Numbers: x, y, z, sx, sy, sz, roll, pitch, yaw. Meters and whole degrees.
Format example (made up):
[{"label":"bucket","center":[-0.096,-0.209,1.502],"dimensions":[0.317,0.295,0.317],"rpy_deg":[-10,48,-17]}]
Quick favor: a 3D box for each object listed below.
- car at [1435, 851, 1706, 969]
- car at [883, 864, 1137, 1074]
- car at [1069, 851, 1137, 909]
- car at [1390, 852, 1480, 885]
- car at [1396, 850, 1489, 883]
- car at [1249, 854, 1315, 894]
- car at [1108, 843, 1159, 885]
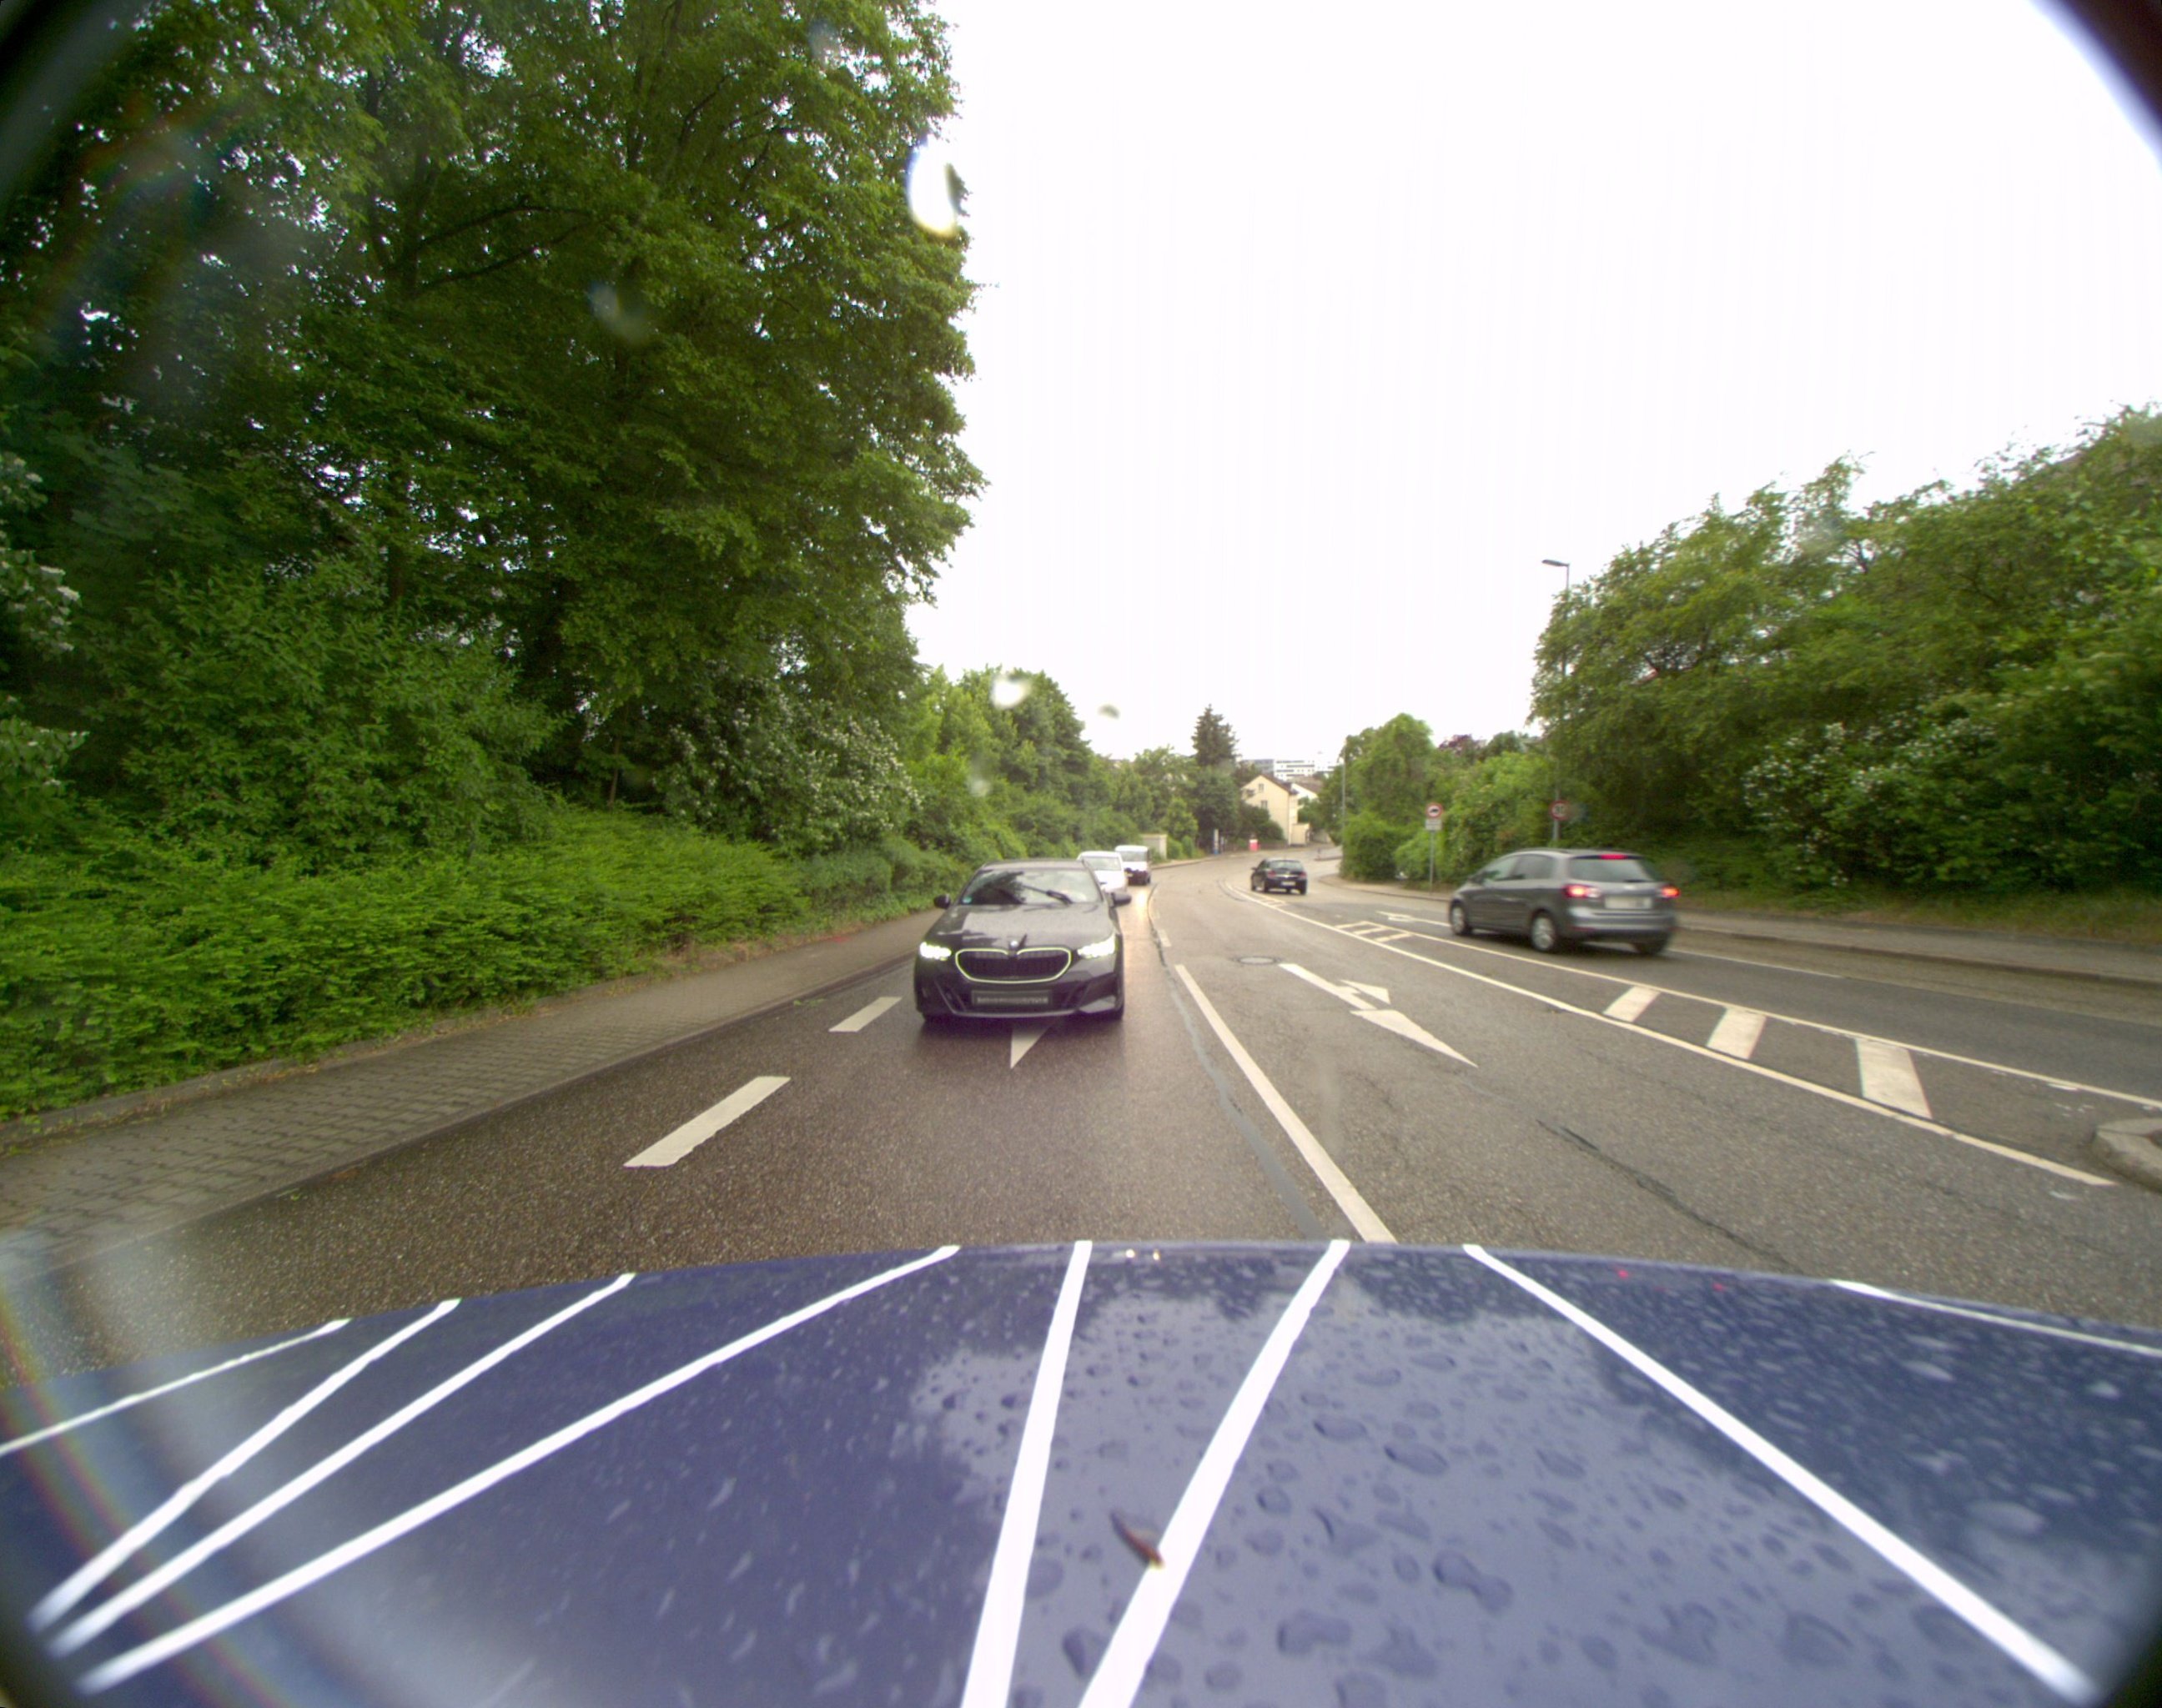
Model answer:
[{"label":"car","center":[7.692,0.768,12.491],"dimensions":[1.747,1.593,4.031],"rpy_deg":[1,0,-1]},{"label":"car","center":[-0.431,0.933,8.139],"dimensions":[1.871,1.497,4.199],"rpy_deg":[1,1,6]},{"label":"car","center":[0.616,0.710,23.118],"dimensions":[1.818,1.431,3.999],"rpy_deg":[3,2,0]},{"label":"car","center":[19.440,0.766,41.852],"dimensions":[3.995,1.527,2.001],"rpy_deg":[-4,0,8]},{"label":"car","center":[18.534,0.645,39.140],"dimensions":[3.908,1.432,1.812],"rpy_deg":[-4,0,9]},{"label":"car","center":[8.194,0.774,31.262],"dimensions":[1.899,1.500,4.001],"rpy_deg":[1,0,4]},{"label":"car","center":[2.439,0.428,36.266],"dimensions":[1.778,1.765,3.997],"rpy_deg":[3,2,-5]}]
